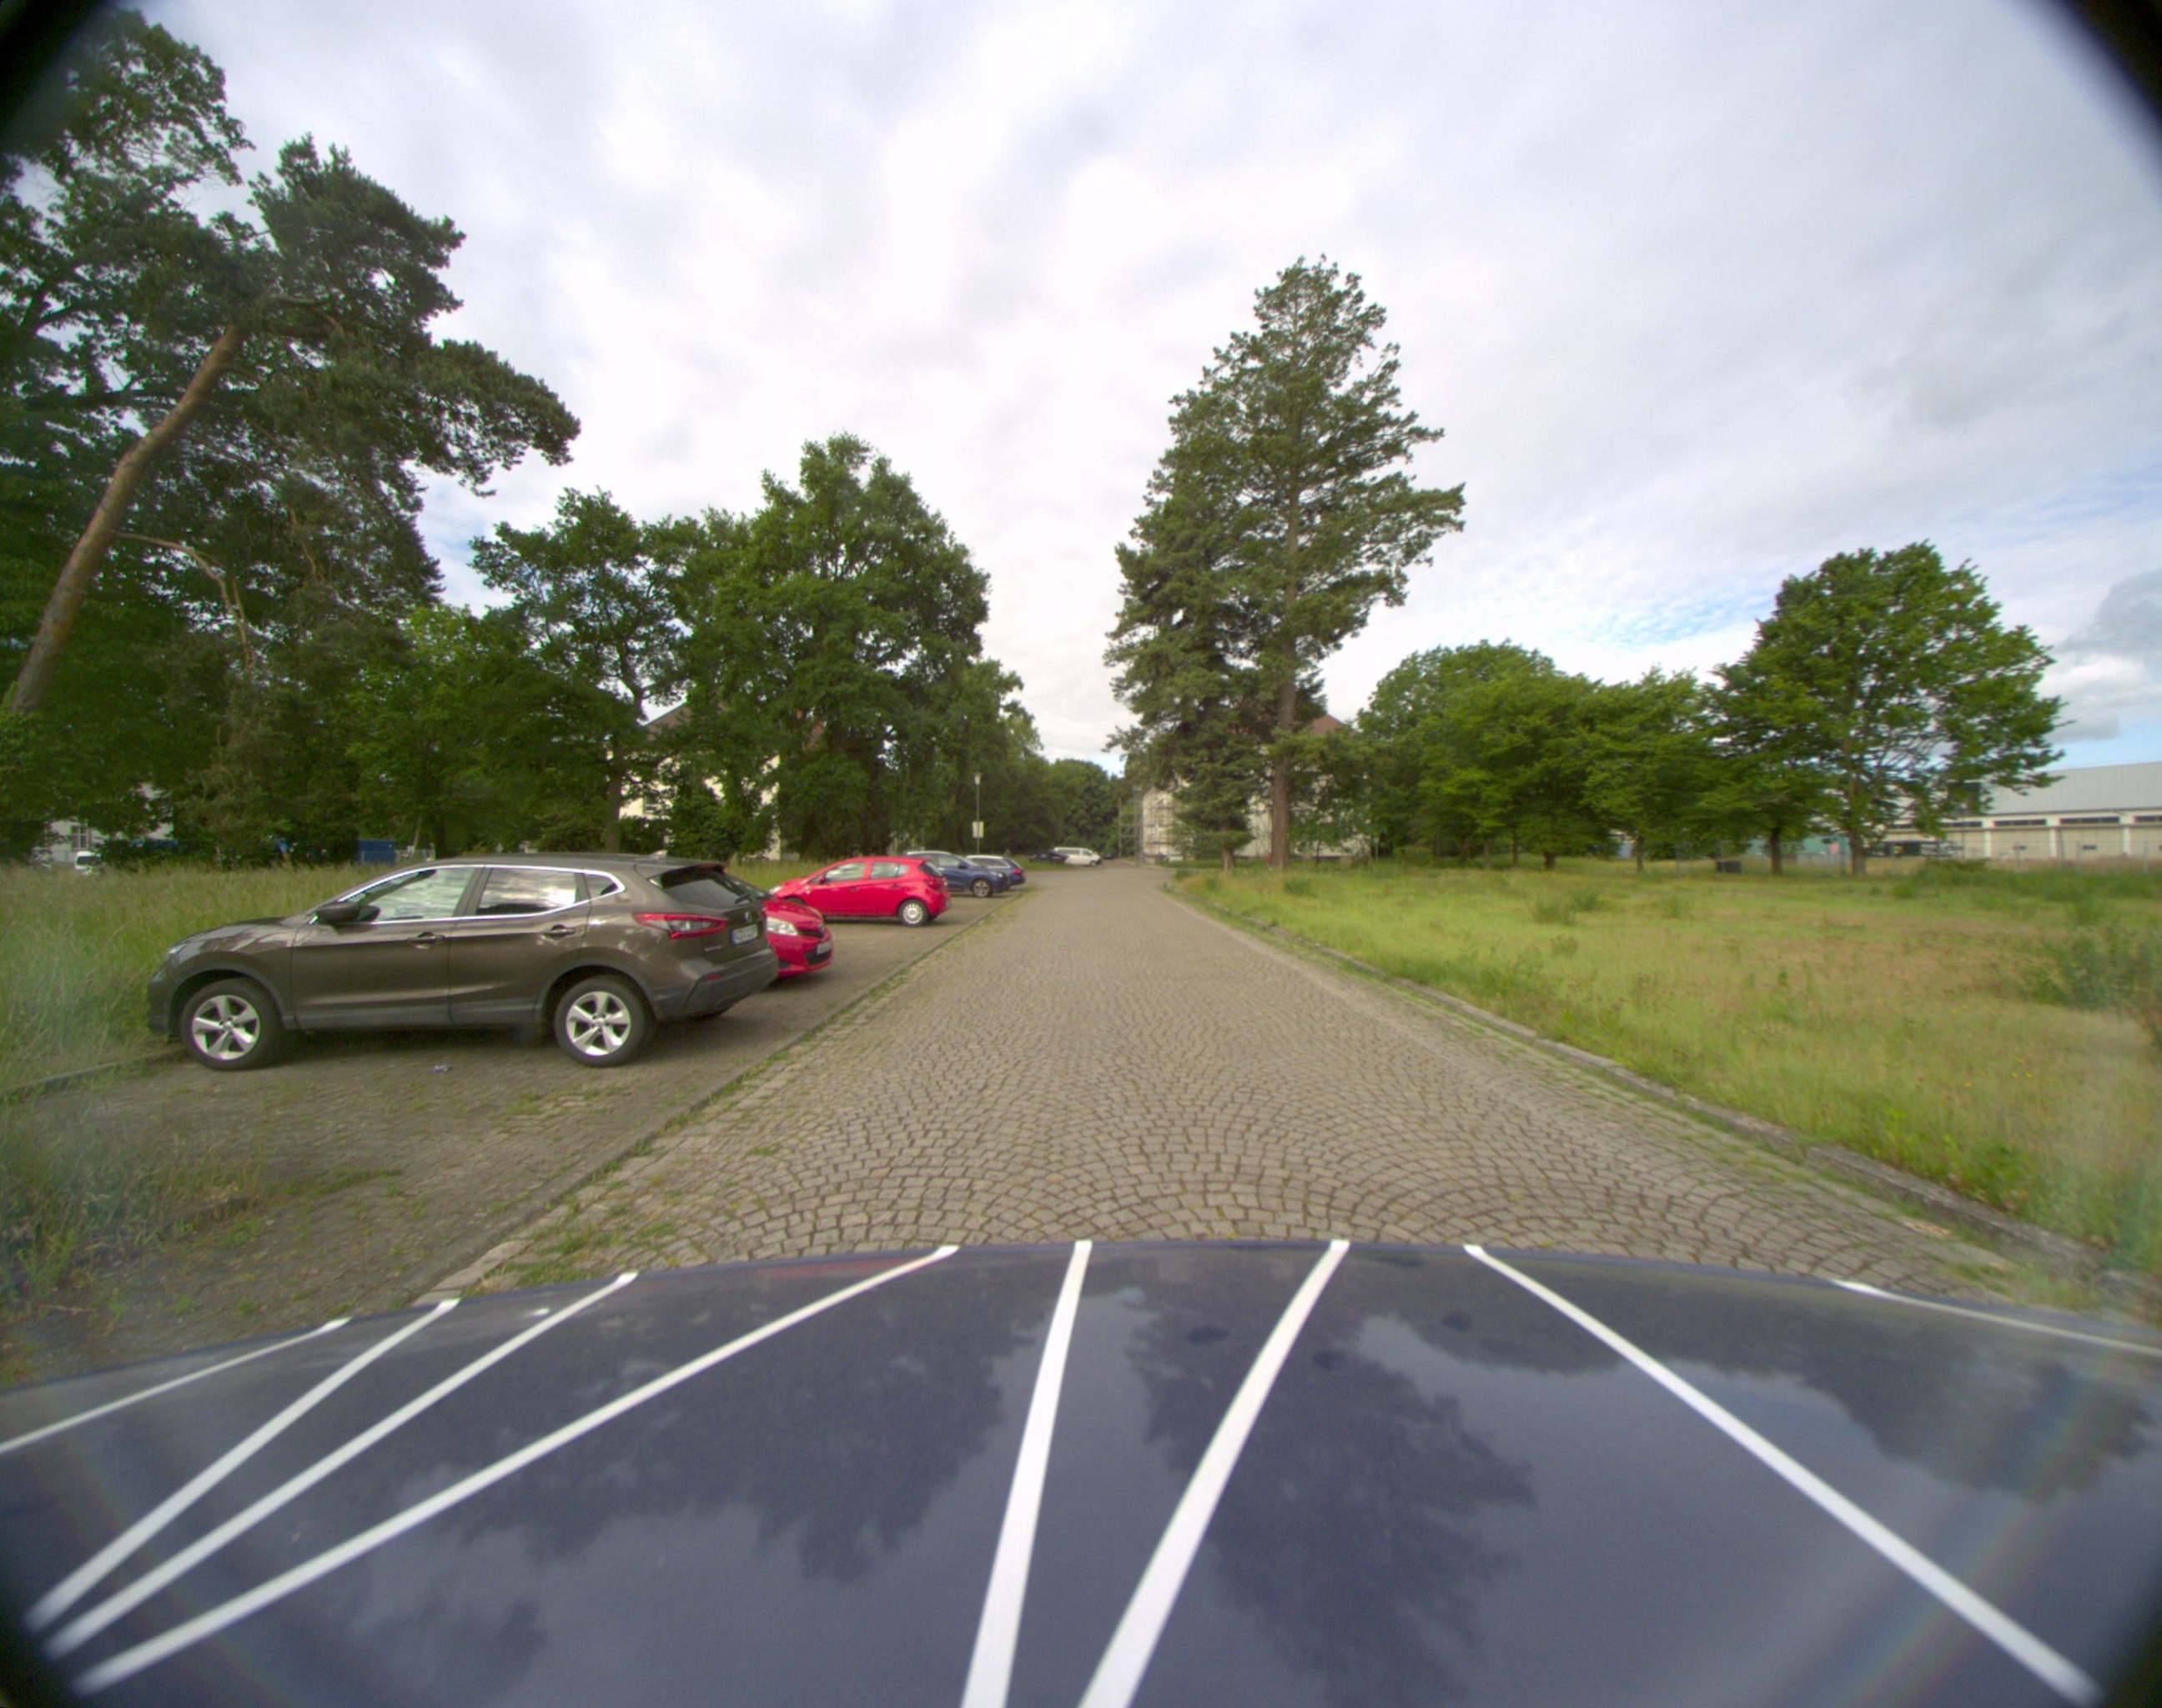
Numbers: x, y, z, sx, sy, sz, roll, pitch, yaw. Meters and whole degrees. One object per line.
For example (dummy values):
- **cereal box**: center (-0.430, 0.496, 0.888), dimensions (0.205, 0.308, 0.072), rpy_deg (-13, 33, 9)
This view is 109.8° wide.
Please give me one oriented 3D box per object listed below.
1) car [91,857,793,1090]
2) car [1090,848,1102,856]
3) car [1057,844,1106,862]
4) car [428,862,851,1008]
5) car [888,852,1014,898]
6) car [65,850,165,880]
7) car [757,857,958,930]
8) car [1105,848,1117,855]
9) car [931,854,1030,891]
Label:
- **car**: center (-4.885, 0.861, 6.328), dimensions (4.271, 1.589, 1.821), rpy_deg (1, 1, -1)
- **car**: center (2.929, -0.437, 146.655), dimensions (1.870, 1.408, 4.694), rpy_deg (1, 1, -4)
- **car**: center (0.030, -0.116, 80.264), dimensions (5.141, 1.860, 1.723), rpy_deg (1, 1, -1)
- **car**: center (-5.029, 0.879, 9.057), dimensions (4.016, 1.477, 1.765), rpy_deg (1, 1, 1)
- **car**: center (-4.527, 0.712, 26.844), dimensions (4.150, 1.529, 1.582), rpy_deg (1, 1, -1)
- **car**: center (-68.024, 0.753, 53.627), dimensions (1.999, 2.002, 3.998), rpy_deg (-1, 1, -4)
- **car**: center (-4.779, 0.826, 16.605), dimensions (3.894, 1.451, 1.582), rpy_deg (1, 1, -1)
- **car**: center (5.821, -0.506, 147.176), dimensions (1.870, 1.408, 4.694), rpy_deg (1, 1, -4)
- **car**: center (-4.131, 0.747, 31.502), dimensions (3.878, 1.417, 1.582), rpy_deg (1, 1, -1)
